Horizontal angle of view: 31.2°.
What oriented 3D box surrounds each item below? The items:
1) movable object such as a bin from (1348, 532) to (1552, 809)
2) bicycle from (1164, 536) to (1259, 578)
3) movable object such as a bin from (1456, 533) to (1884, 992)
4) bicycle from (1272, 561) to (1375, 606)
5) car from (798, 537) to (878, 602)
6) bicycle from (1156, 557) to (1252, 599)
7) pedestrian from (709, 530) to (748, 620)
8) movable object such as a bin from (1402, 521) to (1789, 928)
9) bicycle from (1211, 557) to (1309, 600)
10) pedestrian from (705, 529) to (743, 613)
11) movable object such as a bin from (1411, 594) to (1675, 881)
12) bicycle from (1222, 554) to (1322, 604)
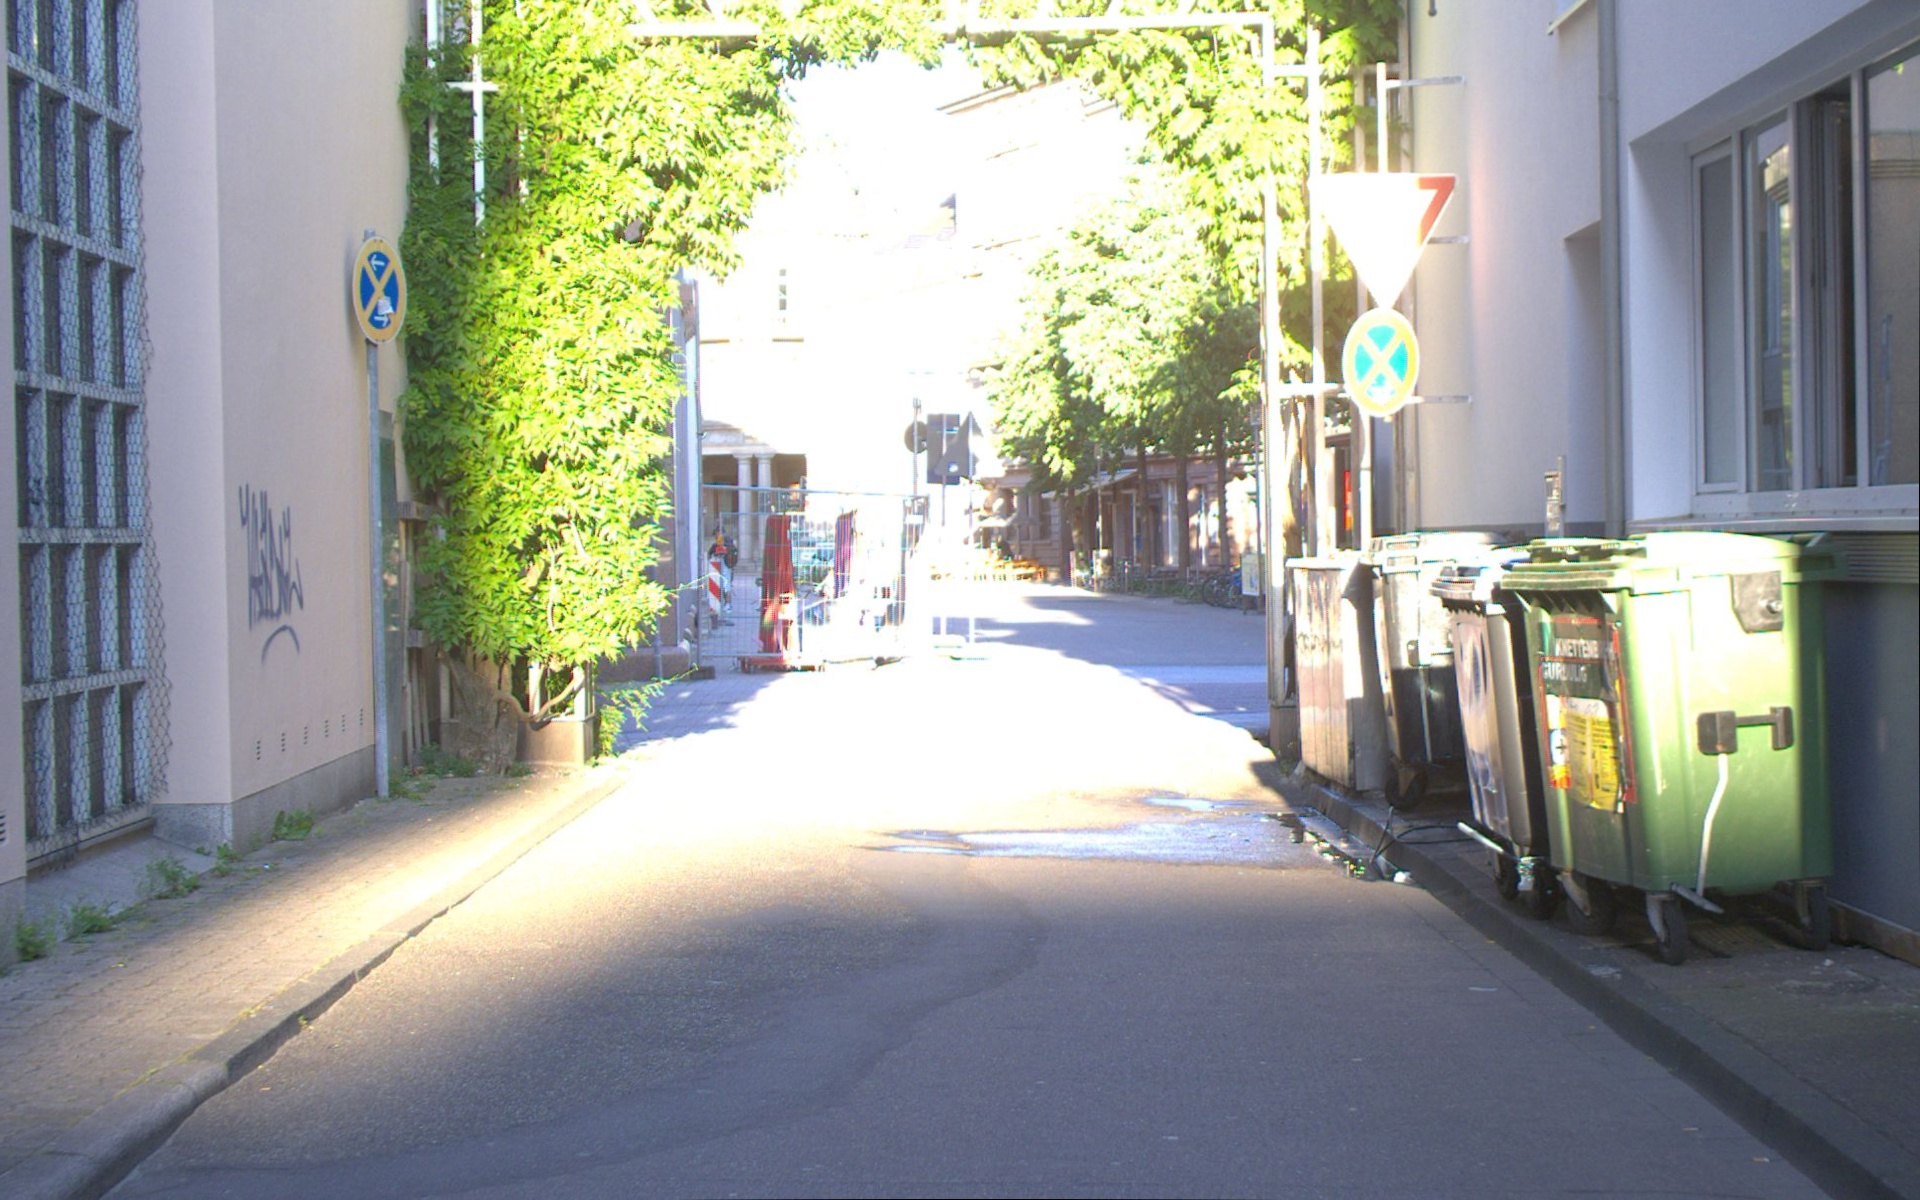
[{"bbox_3d":[2.454,0.330,17.339,0.836,1.300,1.290,-3,1,3],"label":"movable object such as a bin"},{"bbox_3d":[5.942,-1.007,81.257,2.152,0.922,0.591,-2,0,-9],"label":"bicycle"},{"bbox_3d":[2.294,0.490,11.285,0.937,1.362,1.342,-3,1,-6],"label":"movable object such as a bin"},{"bbox_3d":[7.935,-0.361,75.064,2.152,0.922,0.591,-2,0,-16],"label":"bicycle"},{"bbox_3d":[-3.339,-0.830,93.376,1.841,1.678,3.645,-2,1,-6],"label":"car"},{"bbox_3d":[5.705,-0.518,80.361,2.152,0.922,0.591,-2,0,-9],"label":"bicycle"},{"bbox_3d":[-4.560,-0.497,67.703,0.654,1.758,0.634,-1,1,3],"label":"pedestrian"},{"bbox_3d":[2.310,0.423,12.689,1.064,1.362,1.342,-3,1,-2],"label":"movable object such as a bin"},{"bbox_3d":[6.952,-0.495,79.625,2.152,0.922,0.591,-2,0,-9],"label":"bicycle"},{"bbox_3d":[-4.692,-0.584,68.379,0.654,1.646,0.634,-1,1,3],"label":"pedestrian"},{"bbox_3d":[2.348,0.542,13.919,0.869,1.071,0.738,-3,1,-2],"label":"movable object such as a bin"},{"bbox_3d":[7.000,-0.471,77.113,2.154,1.057,0.590,-2,0,13],"label":"bicycle"}]
